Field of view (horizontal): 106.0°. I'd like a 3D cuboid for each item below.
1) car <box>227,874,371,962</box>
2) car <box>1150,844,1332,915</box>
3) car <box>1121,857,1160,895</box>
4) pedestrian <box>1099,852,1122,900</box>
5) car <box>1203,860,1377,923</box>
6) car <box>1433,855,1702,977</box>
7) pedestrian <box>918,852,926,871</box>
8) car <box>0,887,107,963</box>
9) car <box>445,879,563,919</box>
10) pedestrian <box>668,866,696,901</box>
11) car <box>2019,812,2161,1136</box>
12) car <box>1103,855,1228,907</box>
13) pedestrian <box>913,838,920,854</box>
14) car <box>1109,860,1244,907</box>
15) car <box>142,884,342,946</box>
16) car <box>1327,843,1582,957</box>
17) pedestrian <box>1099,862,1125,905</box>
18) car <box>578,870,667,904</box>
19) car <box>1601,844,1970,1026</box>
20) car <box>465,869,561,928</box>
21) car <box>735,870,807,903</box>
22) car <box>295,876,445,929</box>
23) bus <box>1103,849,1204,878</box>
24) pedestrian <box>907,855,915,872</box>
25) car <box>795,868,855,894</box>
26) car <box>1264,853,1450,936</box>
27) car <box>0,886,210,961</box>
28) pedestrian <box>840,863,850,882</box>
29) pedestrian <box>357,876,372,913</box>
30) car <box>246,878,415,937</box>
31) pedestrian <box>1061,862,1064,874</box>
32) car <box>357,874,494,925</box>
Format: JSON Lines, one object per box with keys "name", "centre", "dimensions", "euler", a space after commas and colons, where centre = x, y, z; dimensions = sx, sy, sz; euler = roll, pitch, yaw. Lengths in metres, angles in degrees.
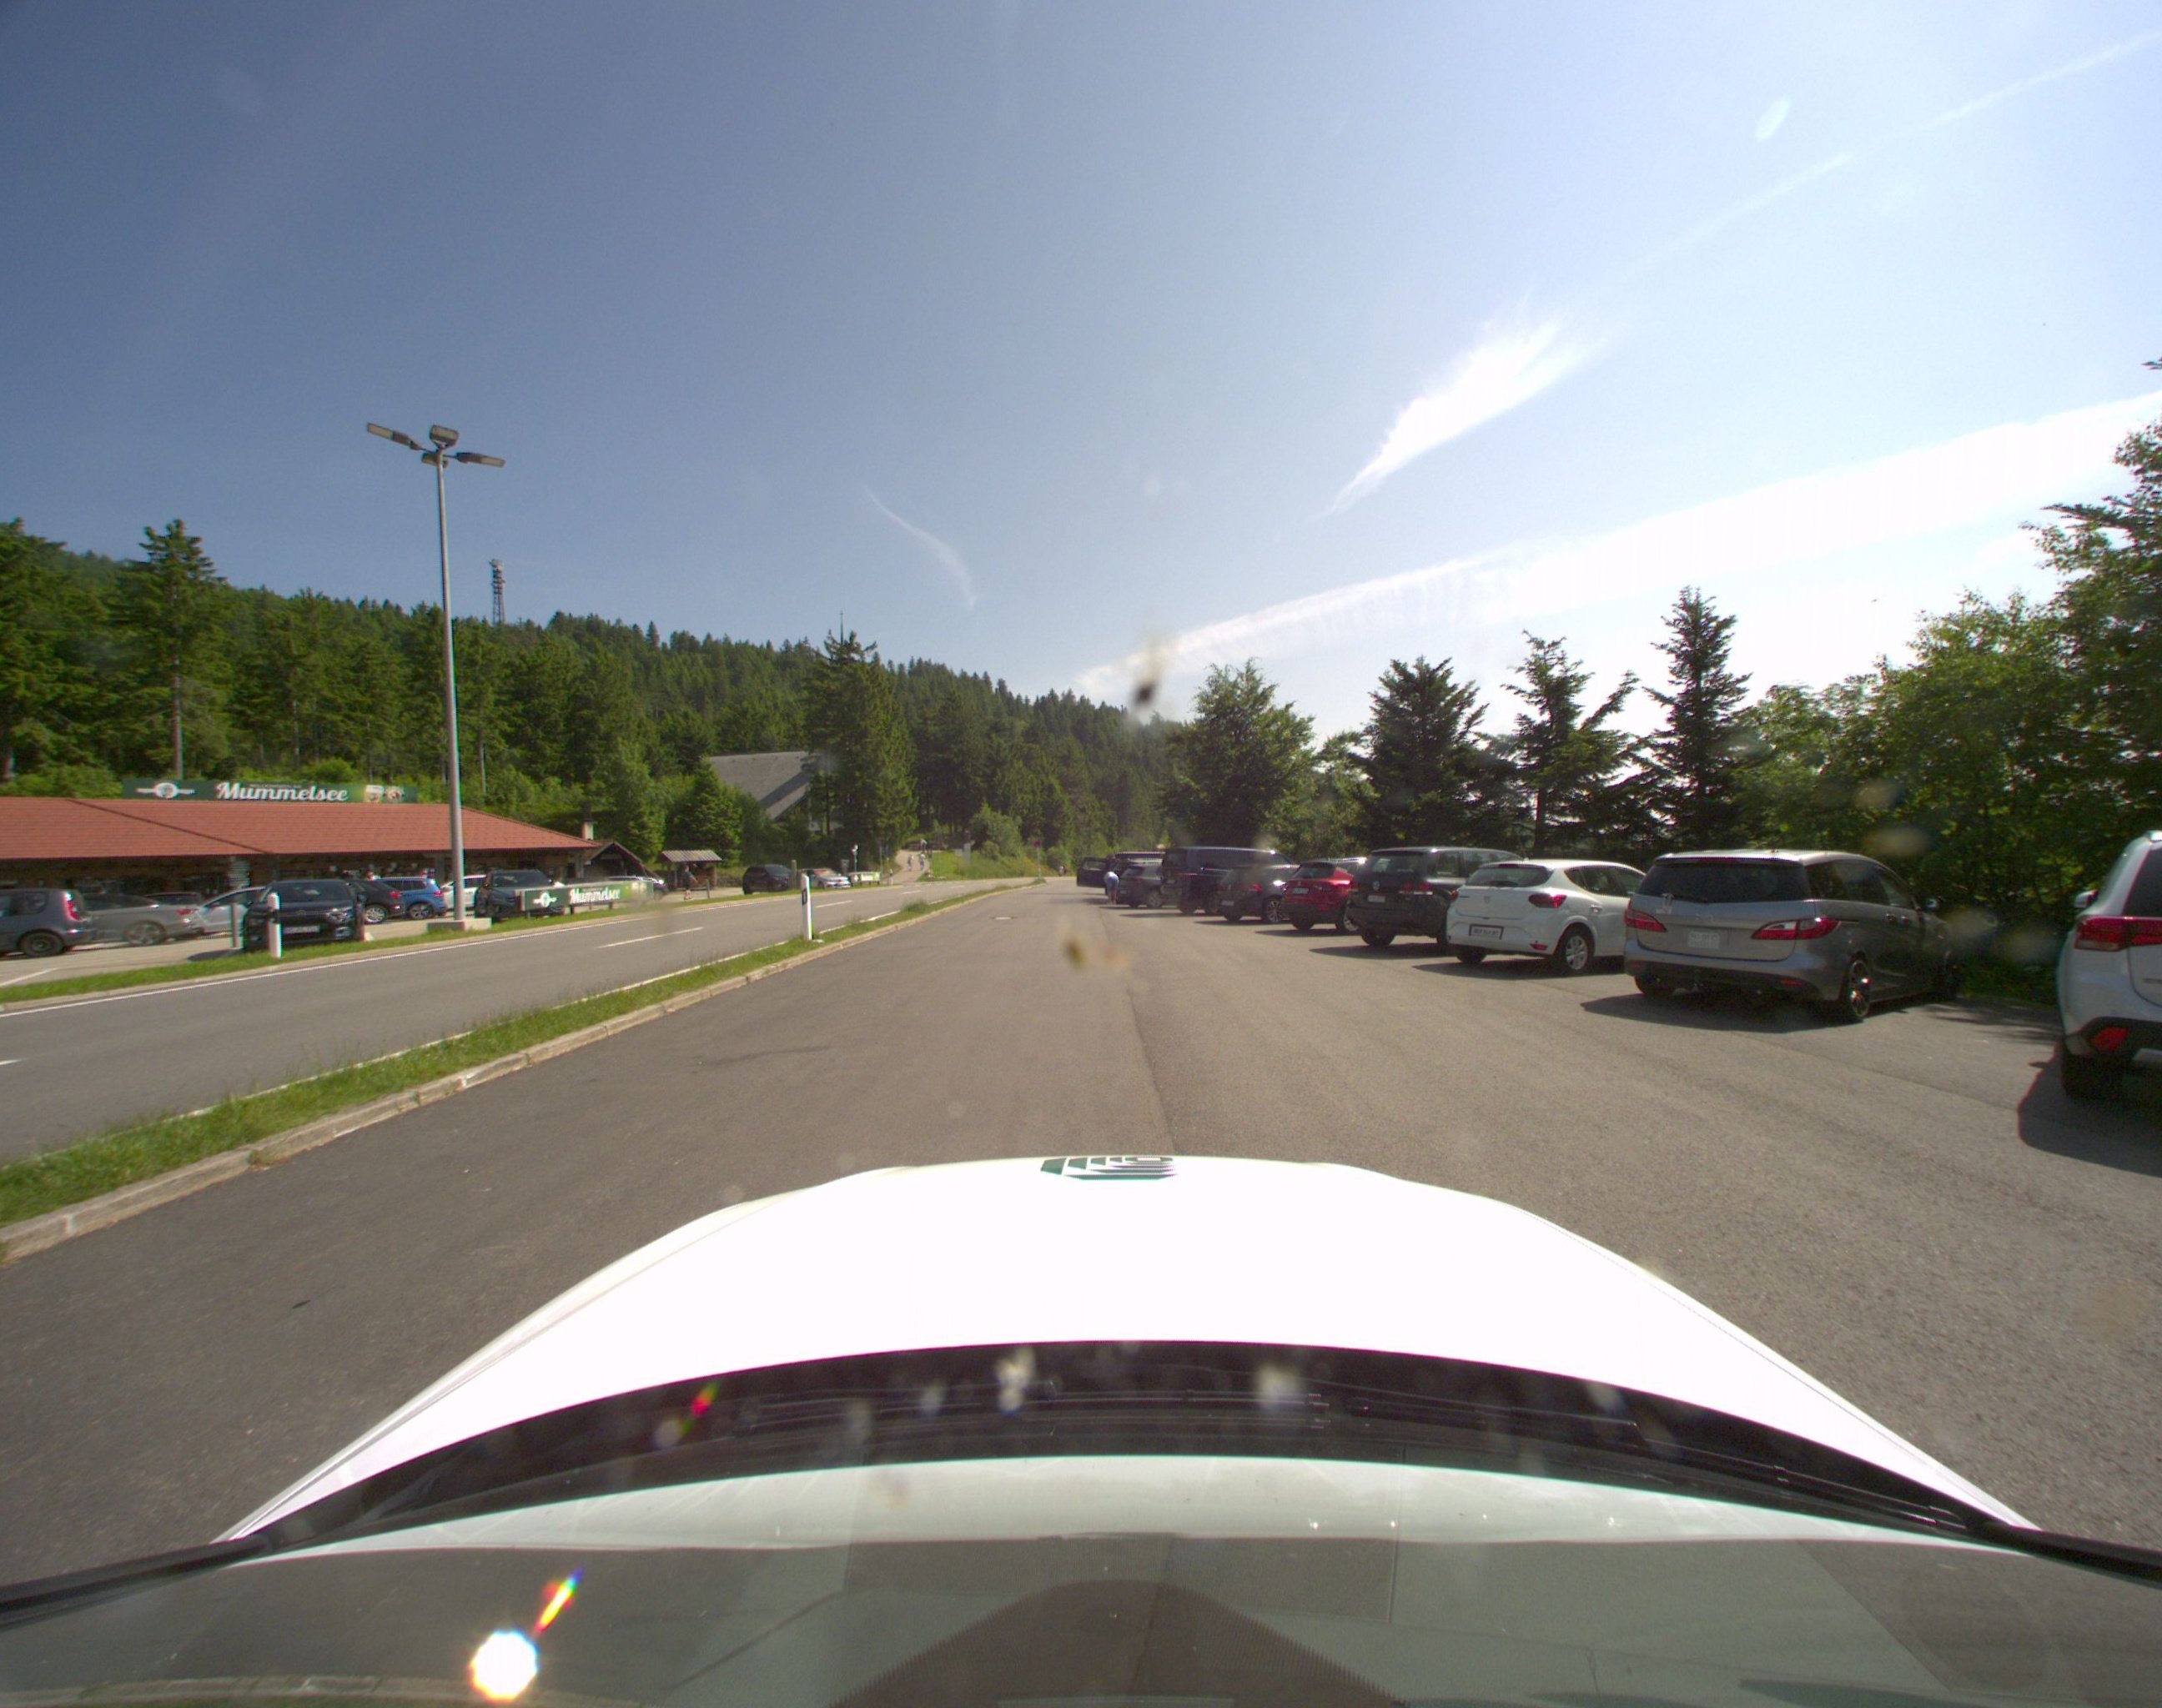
{"name": "car", "centre": [-16.568, 1.258, 17.446], "dimensions": [1.792, 1.552, 3.954], "euler": [-3, 1, -38]}
{"name": "car", "centre": [4.556, 0.716, 23.297], "dimensions": [4.771, 1.880, 1.954], "euler": [1, -1, -19]}
{"name": "car", "centre": [3.341, 1.201, 46.309], "dimensions": [1.898, 1.972, 4.820], "euler": [3, -1, 1]}
{"name": "pedestrian", "centre": [1.087, 0.802, 30.095], "dimensions": [0.582, 1.761, 0.627], "euler": [2, -2, -27]}
{"name": "car", "centre": [5.183, 0.898, 20.129], "dimensions": [4.008, 1.415, 1.729], "euler": [1, -1, -27]}
{"name": "car", "centre": [7.065, 0.799, 11.734], "dimensions": [4.014, 1.476, 1.749], "euler": [1, -1, -33]}
{"name": "pedestrian", "centre": [-15.855, 0.738, 81.267], "dimensions": [0.652, 1.799, 0.642], "euler": [-2, -1, -6]}
{"name": "car", "centre": [-25.157, 1.693, 18.431], "dimensions": [3.755, 1.588, 1.714], "euler": [-4, 1, -44]}
{"name": "car", "centre": [-25.918, 1.999, 36.676], "dimensions": [1.754, 1.468, 4.050], "euler": [-4, 0, 45]}
{"name": "pedestrian", "centre": [-20.554, 1.495, 41.947], "dimensions": [0.893, 1.734, 0.961], "euler": [-3, 1, 0]}
{"name": "car", "centre": [7.609, 0.639, 5.200], "dimensions": [4.246, 1.694, 1.843], "euler": [0, 0, -37]}
{"name": "car", "centre": [3.050, 0.974, 29.308], "dimensions": [4.008, 1.662, 1.982], "euler": [4, -2, -27]}
{"name": "pedestrian", "centre": [-21.232, -1.062, 105.139], "dimensions": [0.797, 2.013, 0.938], "euler": [-3, 1, -8]}
{"name": "car", "centre": [3.092, 0.942, 26.532], "dimensions": [4.001, 1.443, 1.827], "euler": [1, -1, -21]}
{"name": "car", "centre": [-25.010, 1.762, 24.493], "dimensions": [4.024, 1.420, 1.884], "euler": [-4, 1, -44]}
{"name": "car", "centre": [6.492, 0.717, 14.055], "dimensions": [4.288, 1.695, 1.971], "euler": [1, -1, -32]}
{"name": "pedestrian", "centre": [1.070, 0.985, 27.818], "dimensions": [0.769, 1.402, 0.670], "euler": [-3, 1, 7]}
{"name": "car", "centre": [-26.004, 1.816, 46.230], "dimensions": [4.023, 1.618, 1.976], "euler": [-4, 1, -42]}
{"name": "car", "centre": [7.604, 0.722, 8.729], "dimensions": [4.012, 1.549, 1.803], "euler": [1, -1, -30]}
{"name": "car", "centre": [-16.965, 1.268, 24.238], "dimensions": [1.750, 1.567, 4.010], "euler": [-2, 0, -43]}
{"name": "car", "centre": [-16.610, 1.744, 43.573], "dimensions": [4.156, 1.634, 1.800], "euler": [-3, -2, 40]}
{"name": "car", "centre": [-26.103, 1.725, 29.970], "dimensions": [4.024, 1.574, 1.975], "euler": [-4, 1, -44]}
{"name": "bus", "centre": [9.513, 1.293, 106.708], "dimensions": [12.759, 3.578, 2.995], "euler": [-1, 1, 17]}
{"name": "pedestrian", "centre": [-16.893, 0.937, 80.826], "dimensions": [0.652, 1.667, 0.642], "euler": [-2, -2, -6]}
{"name": "car", "centre": [-15.631, 1.661, 49.602], "dimensions": [3.920, 1.441, 1.754], "euler": [-3, 0, 44]}
{"name": "car", "centre": [6.002, 0.804, 17.557], "dimensions": [4.018, 1.590, 1.843], "euler": [1, -1, -37]}
{"name": "car", "centre": [-25.592, 1.740, 21.059], "dimensions": [4.023, 1.545, 1.876], "euler": [-4, 1, -43]}
{"name": "pedestrian", "centre": [-19.936, 1.544, 68.821], "dimensions": [0.575, 1.532, 0.553], "euler": [-3, 1, 0]}
{"name": "pedestrian", "centre": [-37.061, 2.088, 42.108], "dimensions": [0.540, 1.874, 0.531], "euler": [-2, -1, 44]}
{"name": "car", "centre": [-25.223, 1.725, 27.478], "dimensions": [4.024, 1.574, 1.975], "euler": [-4, 1, -44]}
{"name": "pedestrian", "centre": [-2.672, 2.031, 118.235], "dimensions": [0.392, 1.747, 0.407], "euler": [-2, 0, 9]}
{"name": "car", "centre": [-26.347, 1.798, 32.801], "dimensions": [1.754, 1.672, 4.055], "euler": [-4, 0, 45]}
